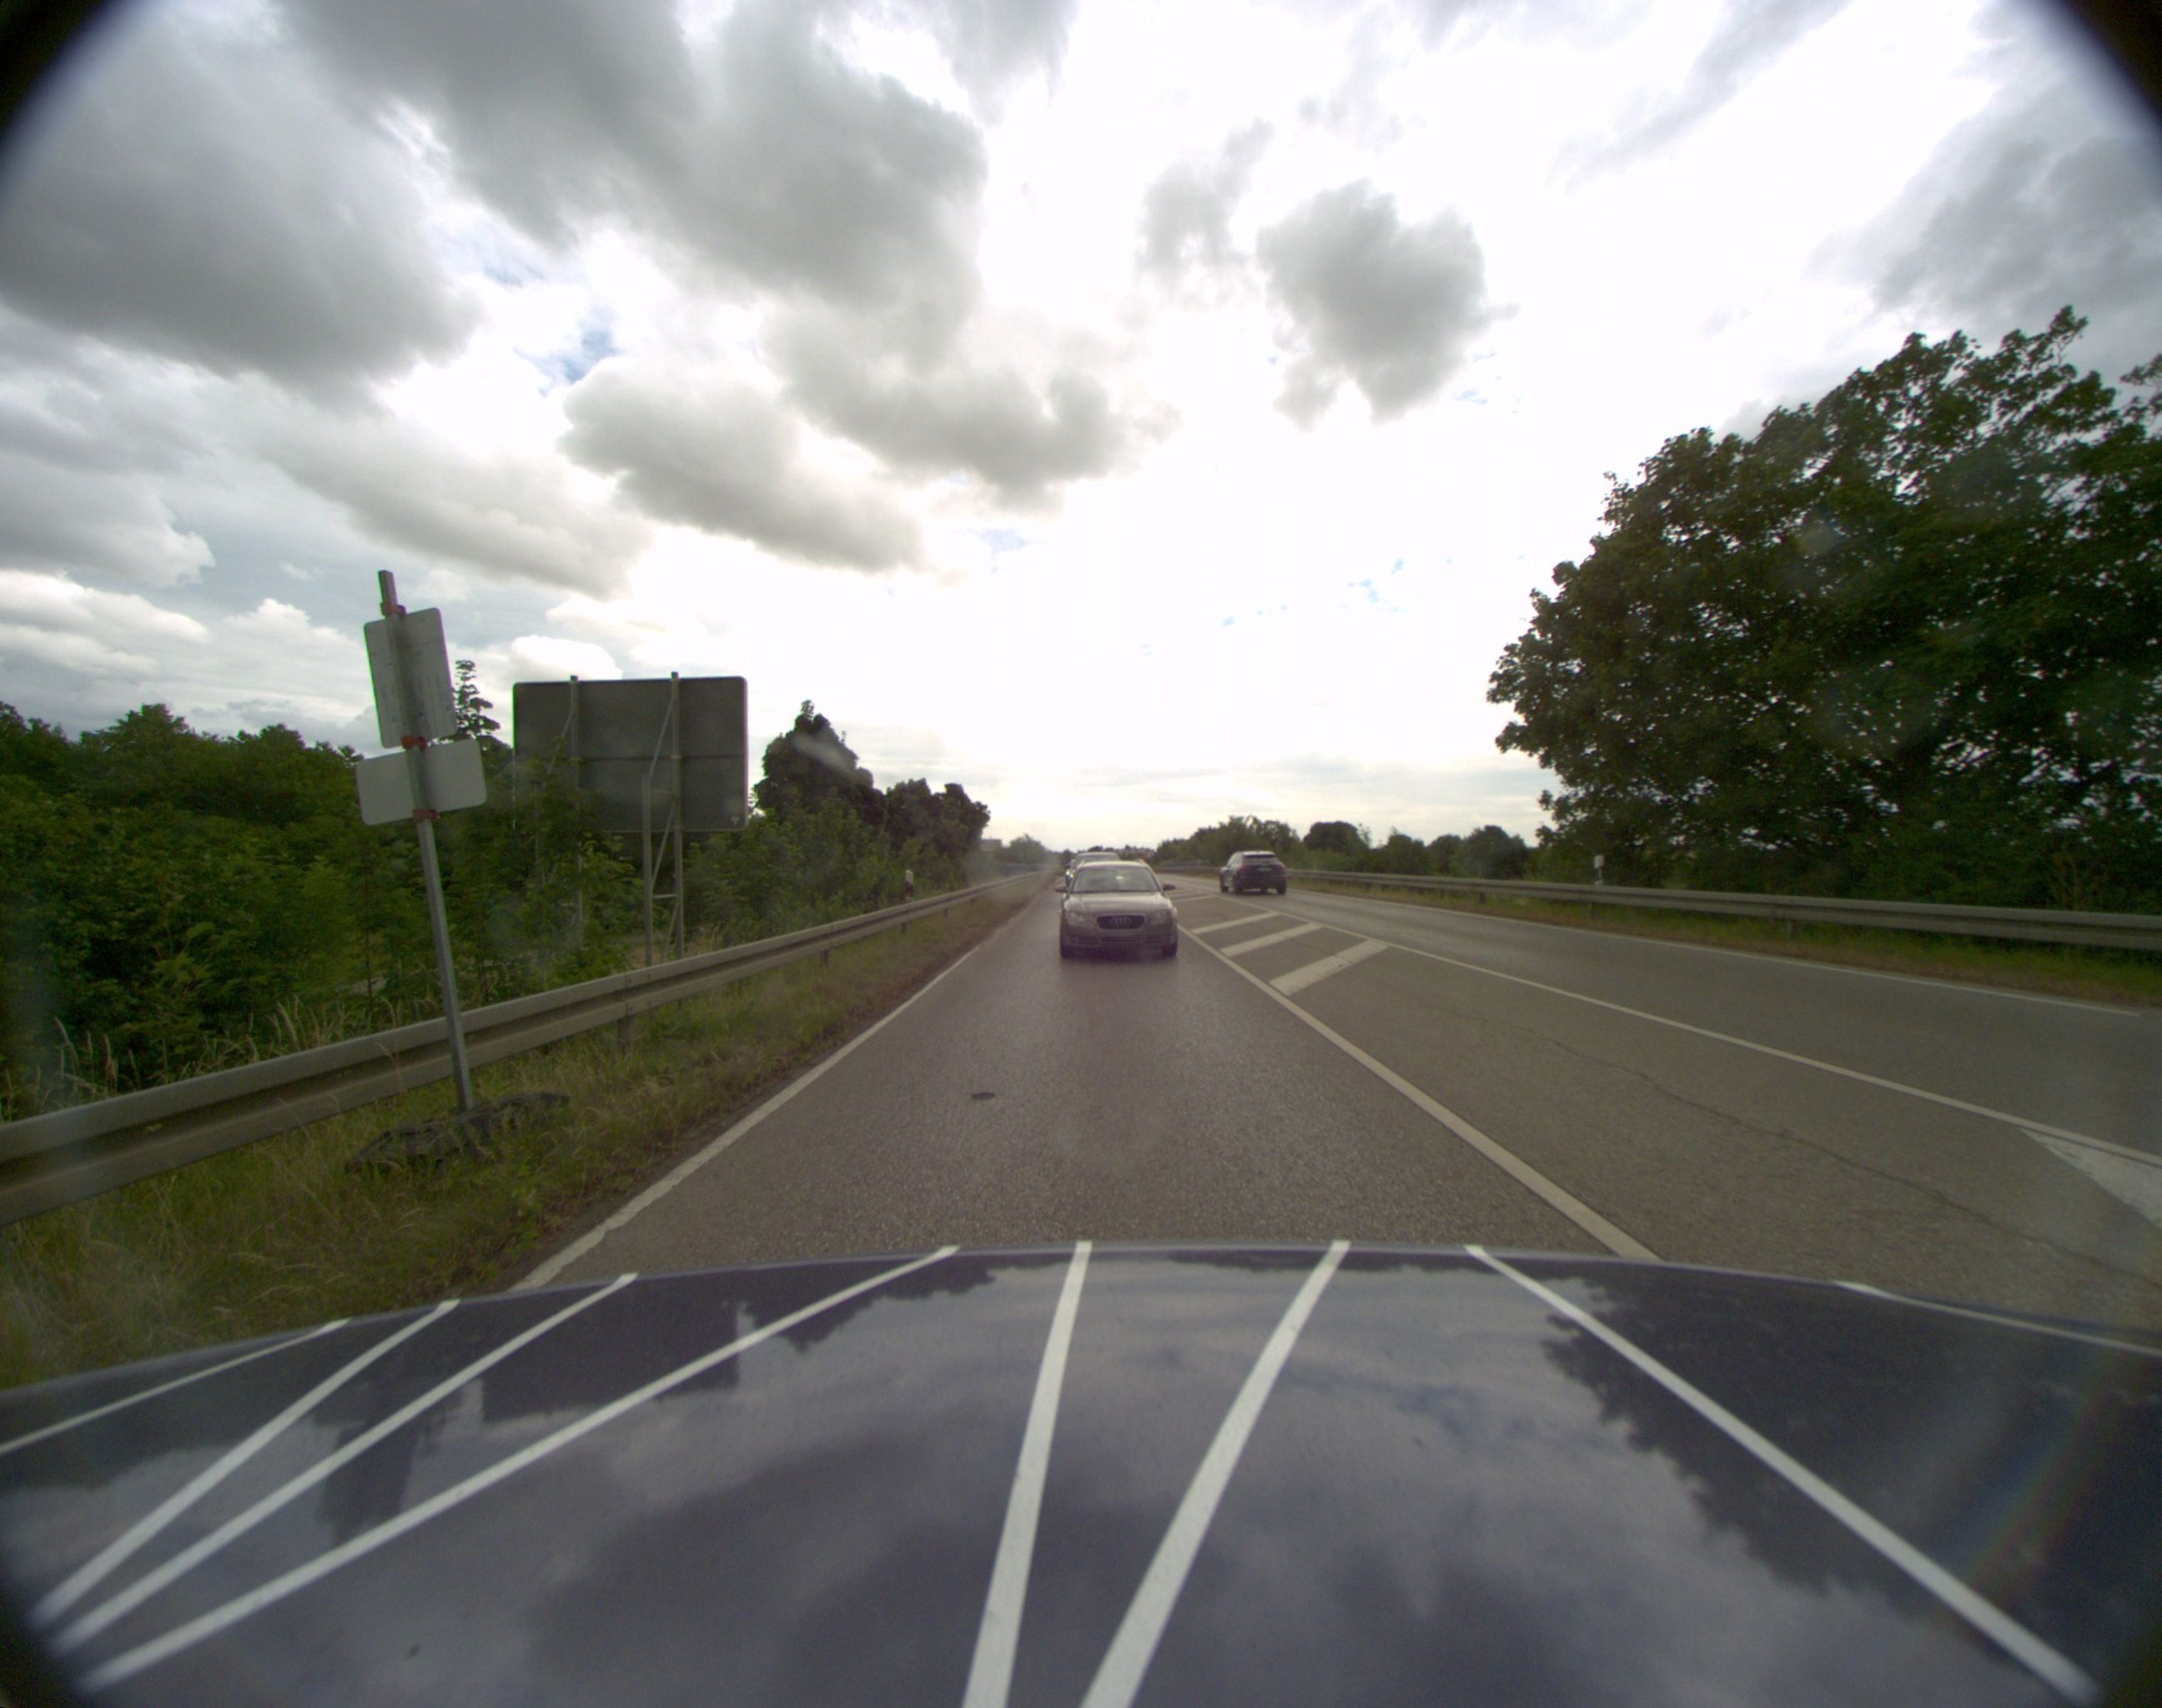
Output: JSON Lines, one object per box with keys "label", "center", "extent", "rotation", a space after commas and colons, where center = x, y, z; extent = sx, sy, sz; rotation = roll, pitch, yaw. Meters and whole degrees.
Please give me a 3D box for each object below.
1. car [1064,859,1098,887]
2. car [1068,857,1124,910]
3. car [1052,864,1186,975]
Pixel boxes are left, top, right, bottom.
{"label": "car", "center": [0.010, 0.988, 40.485], "extent": [1.670, 1.339, 4.000], "rotation": [-2, 0, 0]}
{"label": "car", "center": [0.484, 0.878, 24.457], "extent": [1.603, 1.493, 3.962], "rotation": [-2, 0, 1]}
{"label": "car", "center": [0.506, 0.909, 12.163], "extent": [1.768, 1.383, 3.876], "rotation": [-2, 0, 0]}
